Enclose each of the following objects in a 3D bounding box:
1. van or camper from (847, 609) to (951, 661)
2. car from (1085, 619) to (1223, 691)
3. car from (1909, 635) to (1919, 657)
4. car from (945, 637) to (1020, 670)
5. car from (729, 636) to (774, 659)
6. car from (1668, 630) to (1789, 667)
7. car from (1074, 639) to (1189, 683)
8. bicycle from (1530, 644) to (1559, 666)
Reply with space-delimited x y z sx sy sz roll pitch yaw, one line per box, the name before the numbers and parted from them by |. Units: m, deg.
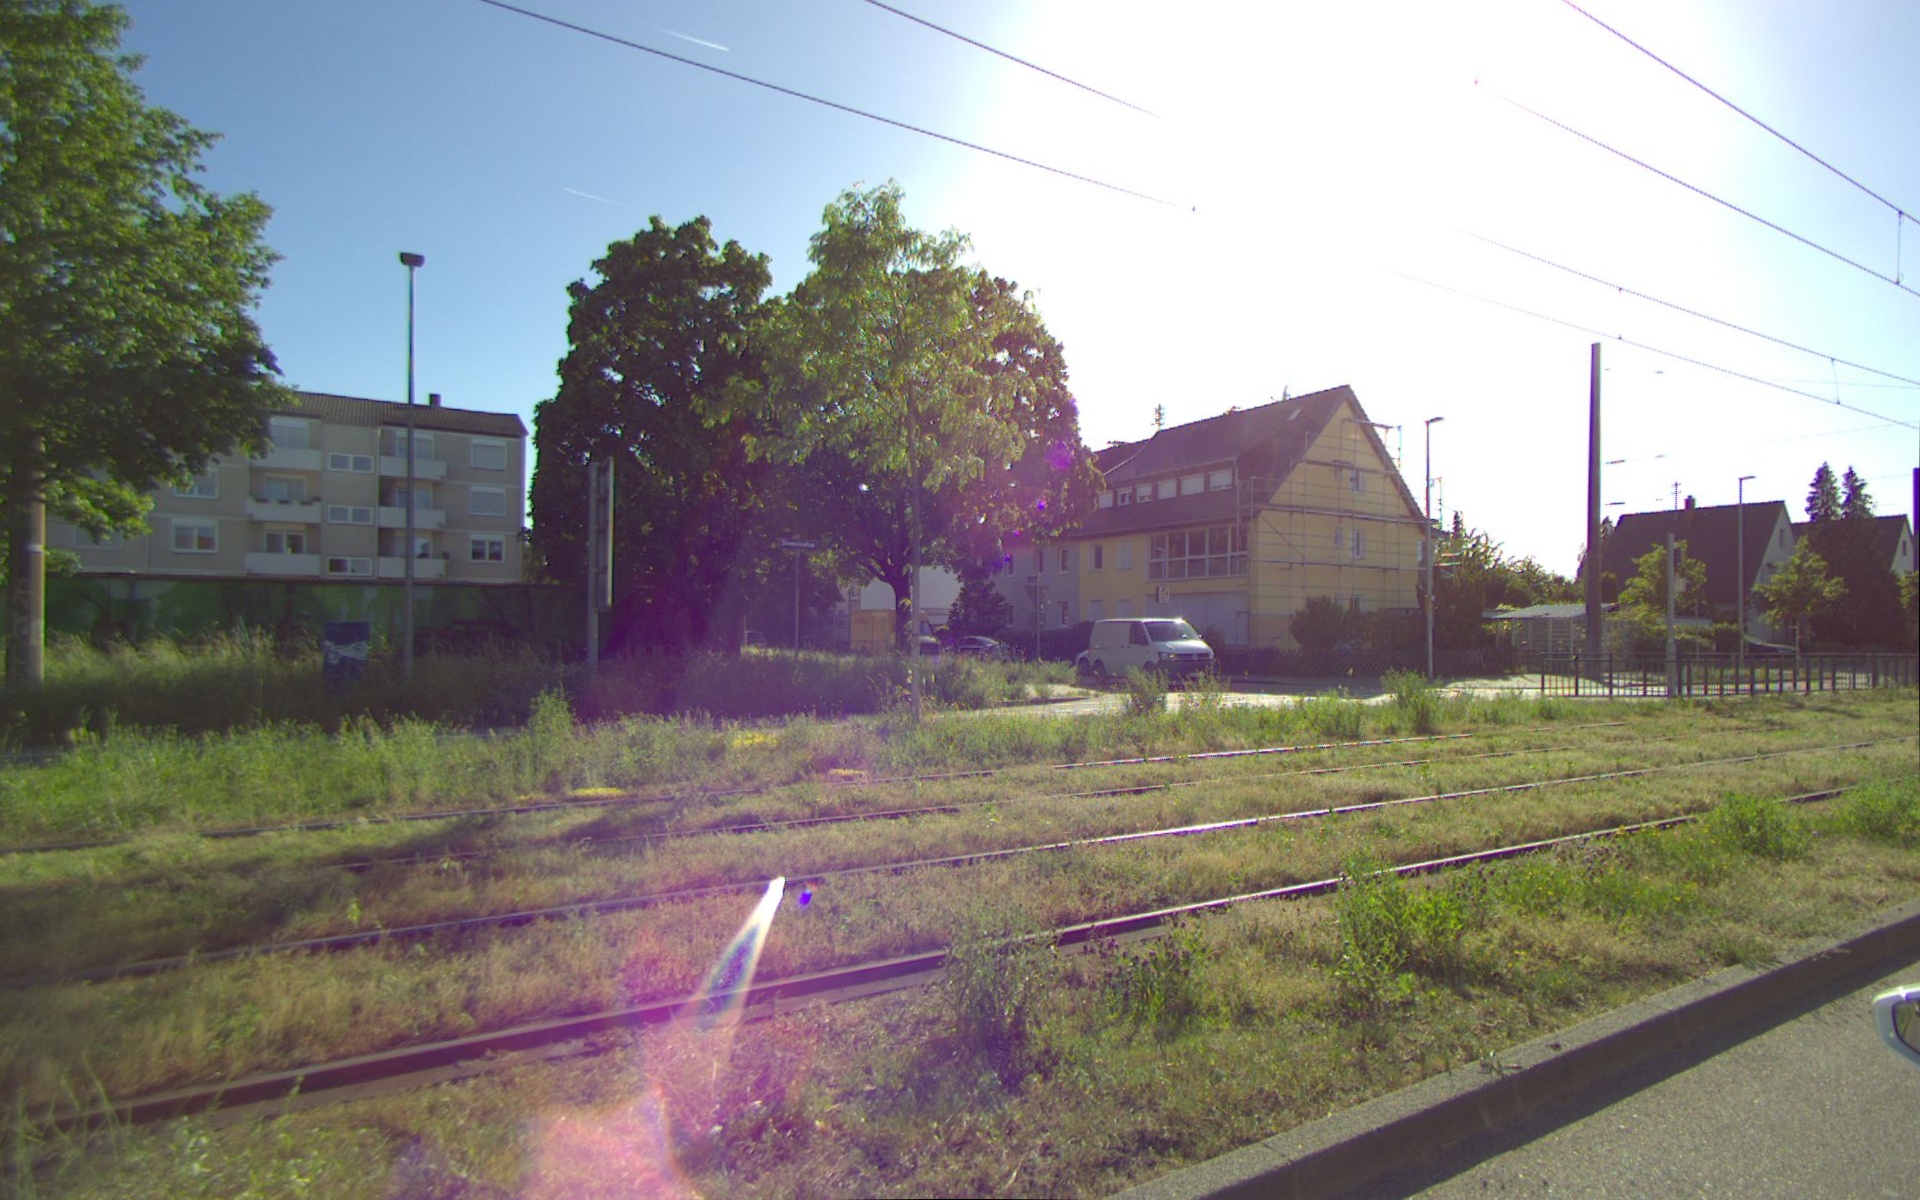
van or camper | -3.233 1.705 51.248 2.088 2.380 7.193 1 -1 -32
car | 5.534 1.549 29.304 1.874 1.940 4.682 1 -2 -19
car | 66.751 3.106 68.297 5.103 1.469 1.925 2 -2 -31
car | 0.945 2.300 43.936 1.542 1.364 3.711 2 -2 -31
car | -14.817 3.318 71.235 1.859 1.570 3.964 1 -2 -33
car | 38.217 2.392 50.031 2.037 1.757 4.500 2 -3 -41
car | 5.993 2.127 35.447 1.832 1.422 3.967 4 -4 -31
bicycle | 23.447 2.209 40.281 1.492 0.832 0.309 2 -1 -31
